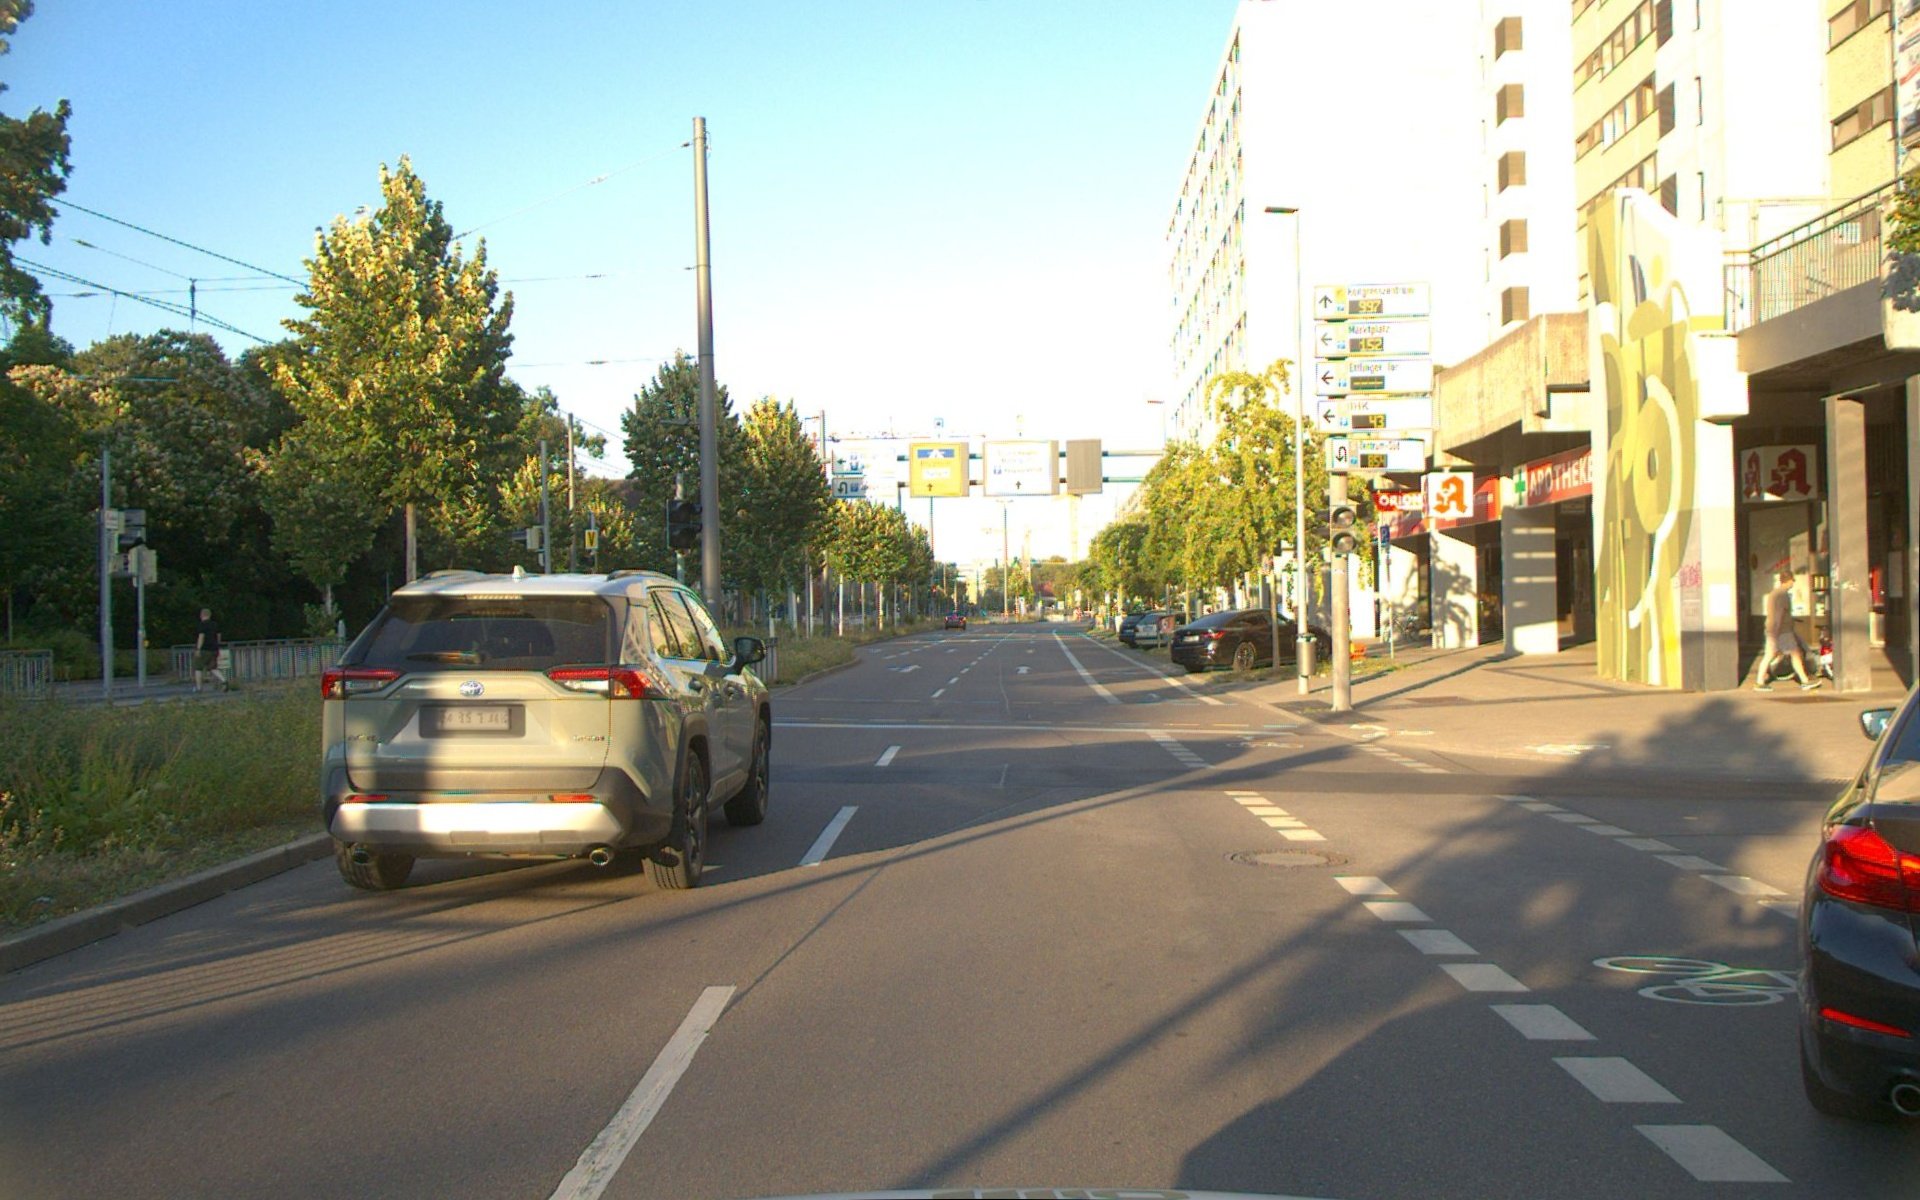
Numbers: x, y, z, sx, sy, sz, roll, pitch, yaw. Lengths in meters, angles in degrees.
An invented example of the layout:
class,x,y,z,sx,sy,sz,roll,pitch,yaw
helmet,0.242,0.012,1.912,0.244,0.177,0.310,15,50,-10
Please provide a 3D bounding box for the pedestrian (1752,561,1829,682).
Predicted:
class,x,y,z,sx,sy,sz,roll,pitch,yaw
pedestrian,12.221,0.320,24.354,0.817,1.742,0.648,-1,-1,7

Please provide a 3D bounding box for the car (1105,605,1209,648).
class,x,y,z,sx,sy,sz,roll,pitch,yaw
car,8.267,1.071,69.286,4.218,1.687,1.838,0,1,-35

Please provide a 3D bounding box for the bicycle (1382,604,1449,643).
class,x,y,z,sx,sy,sz,roll,pitch,yaw
bicycle,14.614,0.755,53.090,1.973,1.169,0.691,2,-1,7

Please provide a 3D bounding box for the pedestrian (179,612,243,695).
class,x,y,z,sx,sy,sz,roll,pitch,yaw
pedestrian,-14.792,1.047,32.654,0.819,1.614,0.811,-1,-1,28

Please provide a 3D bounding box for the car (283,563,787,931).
class,x,y,z,sx,sy,sz,roll,pitch,yaw
car,-2.179,0.645,9.746,1.816,1.687,4.269,0,1,1

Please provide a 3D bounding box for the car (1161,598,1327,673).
class,x,y,z,sx,sy,sz,roll,pitch,yaw
car,7.031,0.834,40.704,4.232,1.687,1.832,-1,1,-42

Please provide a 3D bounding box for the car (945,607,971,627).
class,x,y,z,sx,sy,sz,roll,pitch,yaw
car,-0.144,1.360,131.099,1.938,1.458,4.843,0,1,1

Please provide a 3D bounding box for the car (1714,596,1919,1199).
class,x,y,z,sx,sy,sz,roll,pitch,yaw
car,4.055,0.757,5.349,1.902,1.507,4.500,1,1,39

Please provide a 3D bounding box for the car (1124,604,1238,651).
class,x,y,z,sx,sy,sz,roll,pitch,yaw
car,8.438,1.016,62.935,4.219,1.687,1.838,0,1,-35

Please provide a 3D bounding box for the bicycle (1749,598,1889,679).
class,x,y,z,sx,sy,sz,roll,pitch,yaw
bicycle,13.197,0.582,25.467,0.677,1.169,2.013,2,-1,-18
